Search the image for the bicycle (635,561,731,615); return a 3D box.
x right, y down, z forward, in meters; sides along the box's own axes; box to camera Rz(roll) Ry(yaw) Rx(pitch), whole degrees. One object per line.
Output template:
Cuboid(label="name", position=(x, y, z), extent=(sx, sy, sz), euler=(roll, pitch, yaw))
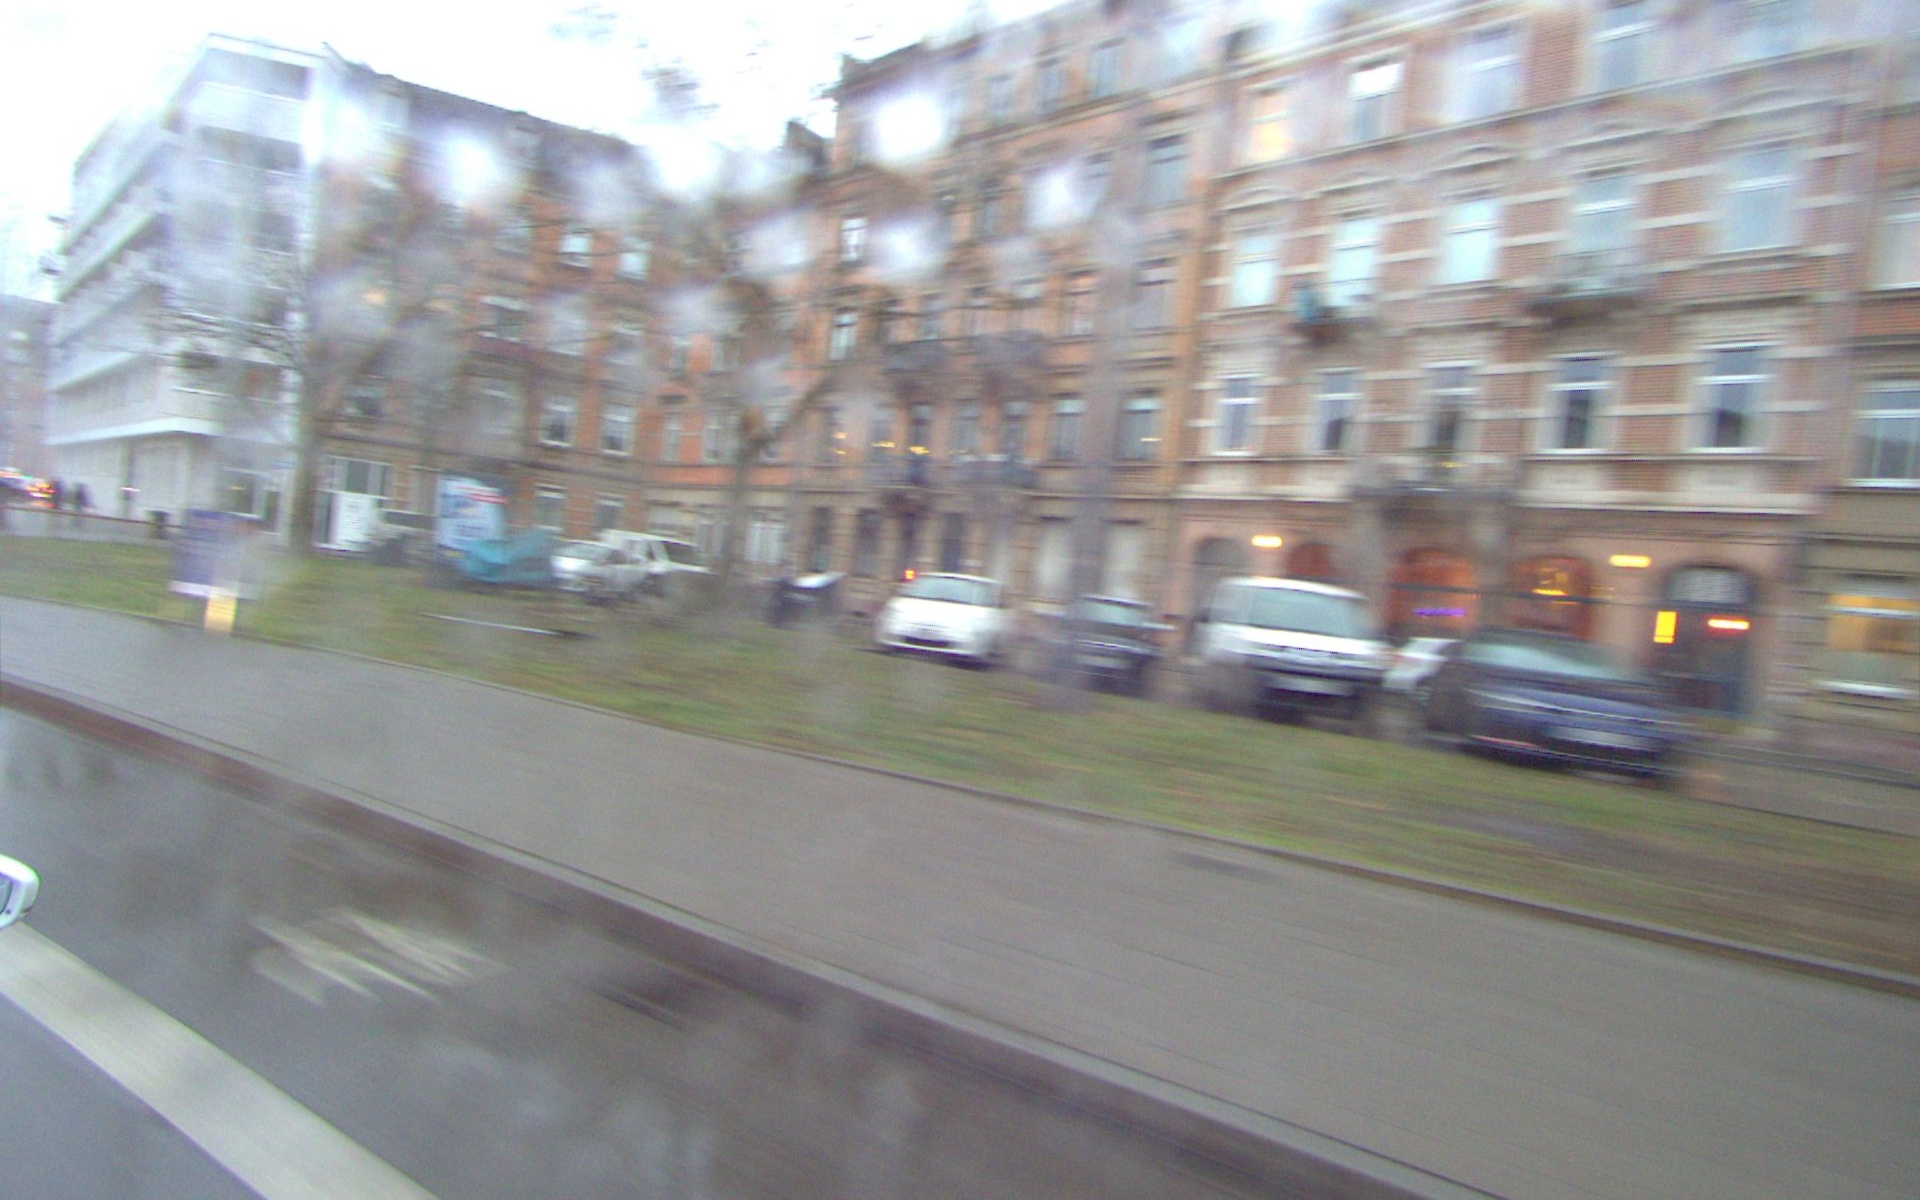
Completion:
Cuboid(label="bicycle", position=(-6.432, -0.262, 23.456), extent=(0.616, 0.978, 2.165), euler=(10, 1, 34))

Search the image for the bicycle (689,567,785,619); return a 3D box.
Cuboid(label="bicycle", position=(-4.915, -0.136, 22.319), extent=(0.616, 0.978, 2.163), euler=(7, 1, 34))

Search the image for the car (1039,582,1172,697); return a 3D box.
Cuboid(label="car", position=(2.157, 0.572, 15.364), extent=(1.632, 1.367, 3.434), euler=(7, 0, 6))

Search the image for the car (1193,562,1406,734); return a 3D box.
Cuboid(label="car", position=(4.063, 0.464, 12.826), extent=(1.743, 1.613, 4.661), euler=(6, 2, 10))

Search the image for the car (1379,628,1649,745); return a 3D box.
Cuboid(label="car", position=(10.096, 1.553, 18.470), extent=(3.991, 1.518, 1.732), euler=(7, -2, 39))

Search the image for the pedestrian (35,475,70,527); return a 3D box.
Cuboid(label="pedestrian", position=(-32.275, -3.530, 35.767), extent=(0.597, 1.734, 0.675), euler=(6, -1, 37))

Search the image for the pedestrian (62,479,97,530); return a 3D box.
Cuboid(label="pedestrian", position=(-31.839, -3.462, 36.382), extent=(0.620, 1.734, 0.675), euler=(6, -1, 37))

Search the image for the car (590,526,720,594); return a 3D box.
Cuboid(label="car", position=(-11.350, -1.514, 37.253), extent=(4.911, 2.040, 1.991), euler=(7, 2, 37))

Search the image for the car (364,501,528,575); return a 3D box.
Cuboid(label="car", position=(-14.114, -1.656, 27.914), extent=(1.907, 1.658, 3.999), euler=(6, 1, 10))

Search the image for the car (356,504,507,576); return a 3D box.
Cuboid(label="car", position=(-19.905, -2.203, 38.149), extent=(4.685, 1.941, 1.991), euler=(8, -2, -22))

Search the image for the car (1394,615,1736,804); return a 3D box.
Cuboid(label="car", position=(6.033, 0.958, 10.658), extent=(1.736, 1.251, 4.060), euler=(8, 3, 12))

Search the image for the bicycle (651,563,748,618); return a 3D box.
Cuboid(label="bicycle", position=(-5.929, -0.193, 23.037), extent=(0.616, 0.978, 2.165), euler=(10, 1, 34))

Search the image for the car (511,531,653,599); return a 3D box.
Cuboid(label="car", position=(-9.362, -0.810, 25.239), extent=(1.666, 1.353, 3.859), euler=(7, 0, 6))

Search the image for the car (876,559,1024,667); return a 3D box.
Cuboid(label="car", position=(-0.059, 0.274, 16.882), extent=(1.583, 1.460, 3.470), euler=(7, -1, 13))
